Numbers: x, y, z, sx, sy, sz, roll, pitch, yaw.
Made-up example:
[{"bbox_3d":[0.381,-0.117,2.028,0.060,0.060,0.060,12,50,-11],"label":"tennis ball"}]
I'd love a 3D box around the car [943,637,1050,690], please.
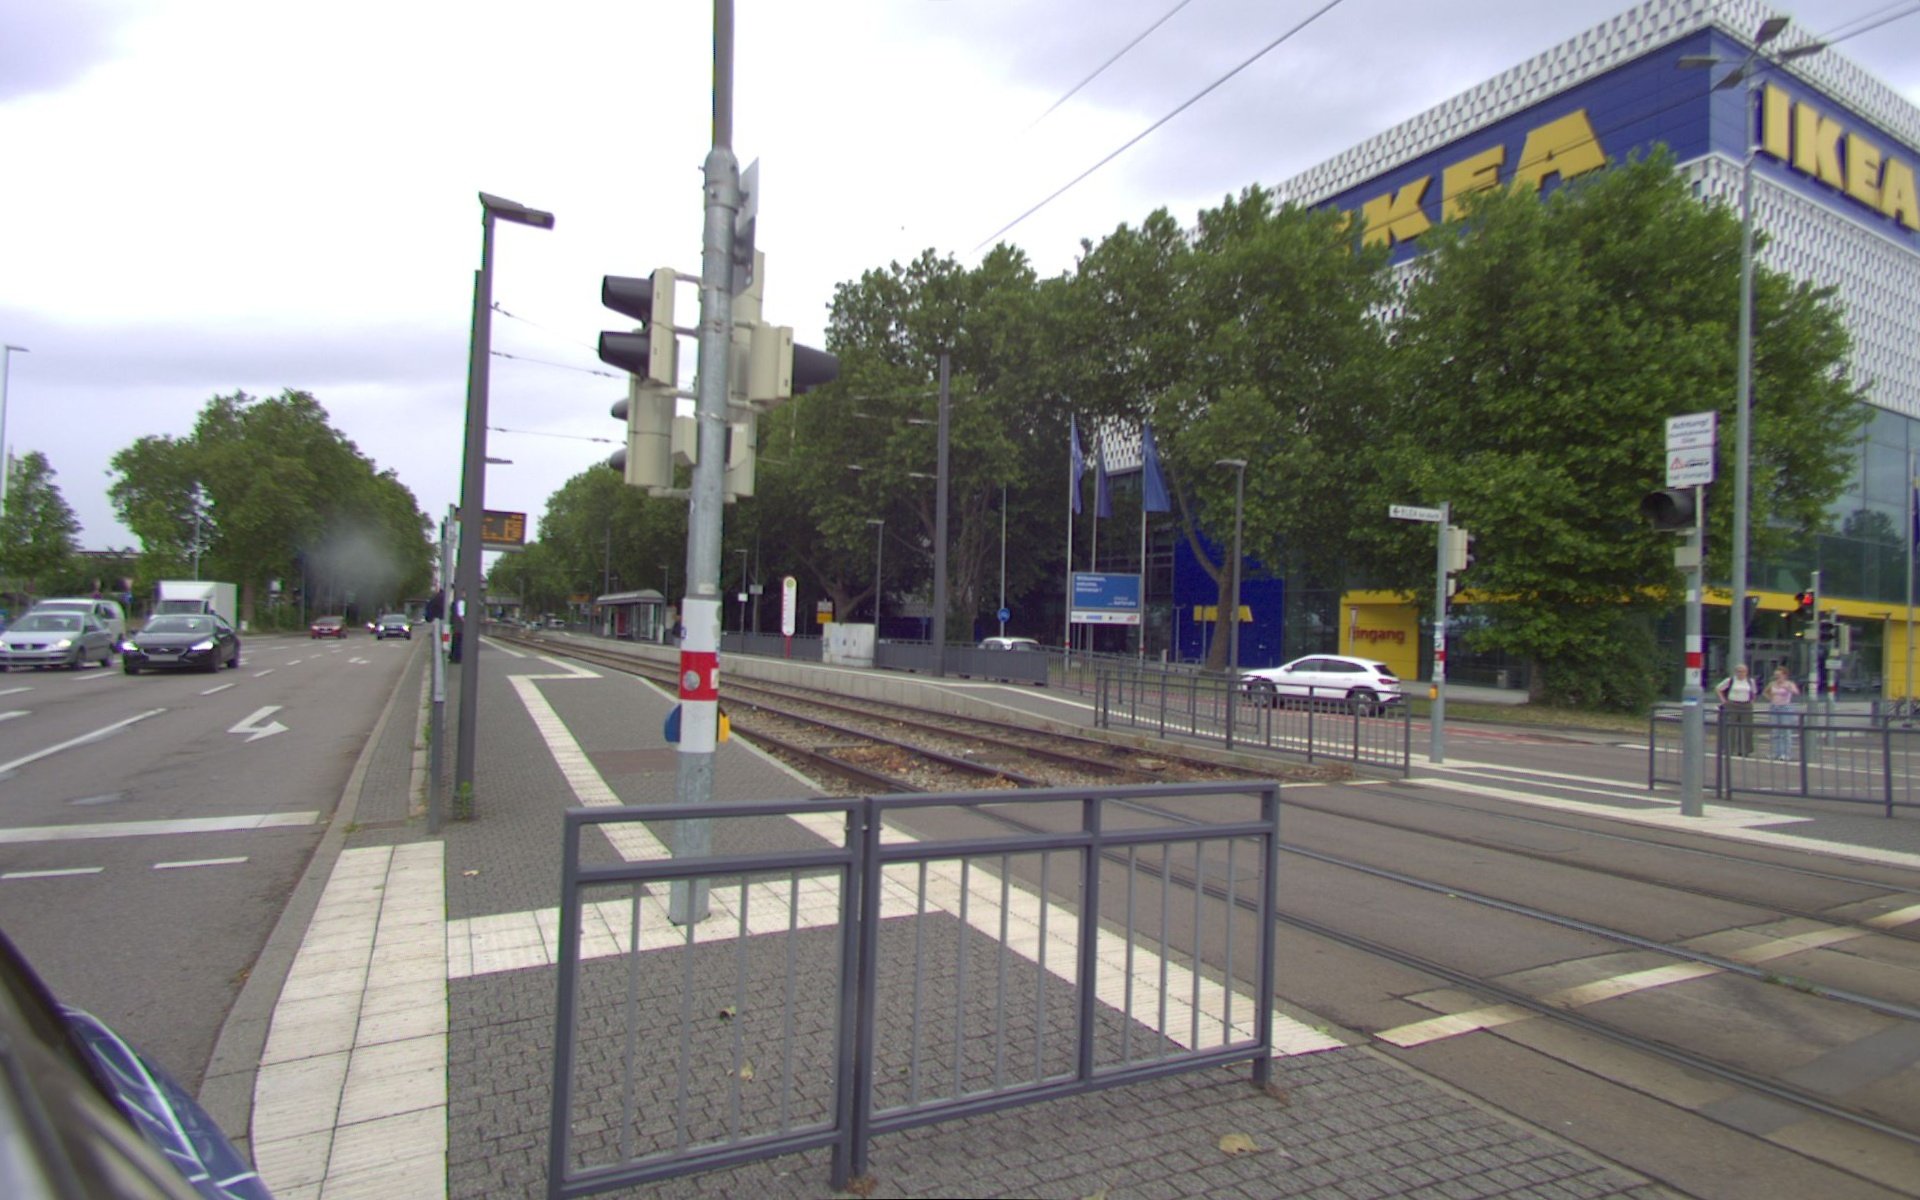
[{"bbox_3d":[1.243,2.267,36.645,1.767,1.597,4.155,6,-3,-32],"label":"car"}]

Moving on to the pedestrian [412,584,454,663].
[{"bbox_3d":[-11.879,0.528,22.821,0.774,1.755,0.588,1,-1,-24],"label":"pedestrian"}]

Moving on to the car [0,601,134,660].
[{"bbox_3d":[-30.852,1.036,35.131,2.064,1.894,5.137,1,-2,-24],"label":"car"}]

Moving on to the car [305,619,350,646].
[{"bbox_3d":[-41.627,2.128,66.710,1.861,1.695,4.013,2,-1,-23],"label":"car"}]

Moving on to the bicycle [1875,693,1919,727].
[{"bbox_3d":[36.889,4.311,39.219,0.584,1.165,2.025,3,0,-42],"label":"bicycle"}]

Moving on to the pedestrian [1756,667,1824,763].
[{"bbox_3d":[15.654,2.165,19.093,0.753,1.724,0.678,4,-2,-22],"label":"pedestrian"}]

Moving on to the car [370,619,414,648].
[{"bbox_3d":[-36.048,2.127,64.328,1.928,1.696,4.013,2,-1,-23],"label":"car"}]

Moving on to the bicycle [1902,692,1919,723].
[{"bbox_3d":[39.058,4.374,40.369,0.583,1.165,2.029,3,0,-27],"label":"bicycle"}]

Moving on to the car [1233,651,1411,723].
[{"bbox_3d":[10.179,2.408,28.568,4.397,1.597,1.873,3,-2,32],"label":"car"}]

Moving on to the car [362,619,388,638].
[{"bbox_3d":[-55.009,2.674,95.234,1.684,1.686,3.726,3,-3,-24],"label":"car"}]

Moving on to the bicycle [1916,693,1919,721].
[{"bbox_3d":[40.039,4.435,40.833,0.583,1.165,2.029,3,0,-27],"label":"bicycle"}]

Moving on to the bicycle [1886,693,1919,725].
[{"bbox_3d":[38.036,4.351,39.990,0.583,1.165,2.029,3,0,-27],"label":"bicycle"}]

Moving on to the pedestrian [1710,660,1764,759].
[{"bbox_3d":[15.103,2.117,19.667,0.754,1.811,0.676,6,-3,-43],"label":"pedestrian"}]

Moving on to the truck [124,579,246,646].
[{"bbox_3d":[-36.892,0.645,48.438,2.779,2.945,6.565,1,-2,-20],"label":"truck"}]

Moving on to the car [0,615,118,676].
[{"bbox_3d":[-22.728,1.095,25.392,1.654,1.429,3.862,1,-2,-28],"label":"car"}]

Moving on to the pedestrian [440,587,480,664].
[{"bbox_3d":[-10.470,0.533,21.196,0.699,1.572,0.634,1,-1,-24],"label":"pedestrian"}]

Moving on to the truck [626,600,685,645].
[{"bbox_3d":[-28.401,2.080,94.029,3.206,3.691,9.928,5,-3,-28],"label":"truck"}]

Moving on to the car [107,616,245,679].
[{"bbox_3d":[-19.146,1.123,24.937,1.965,1.401,4.357,1,-2,-28],"label":"car"}]
